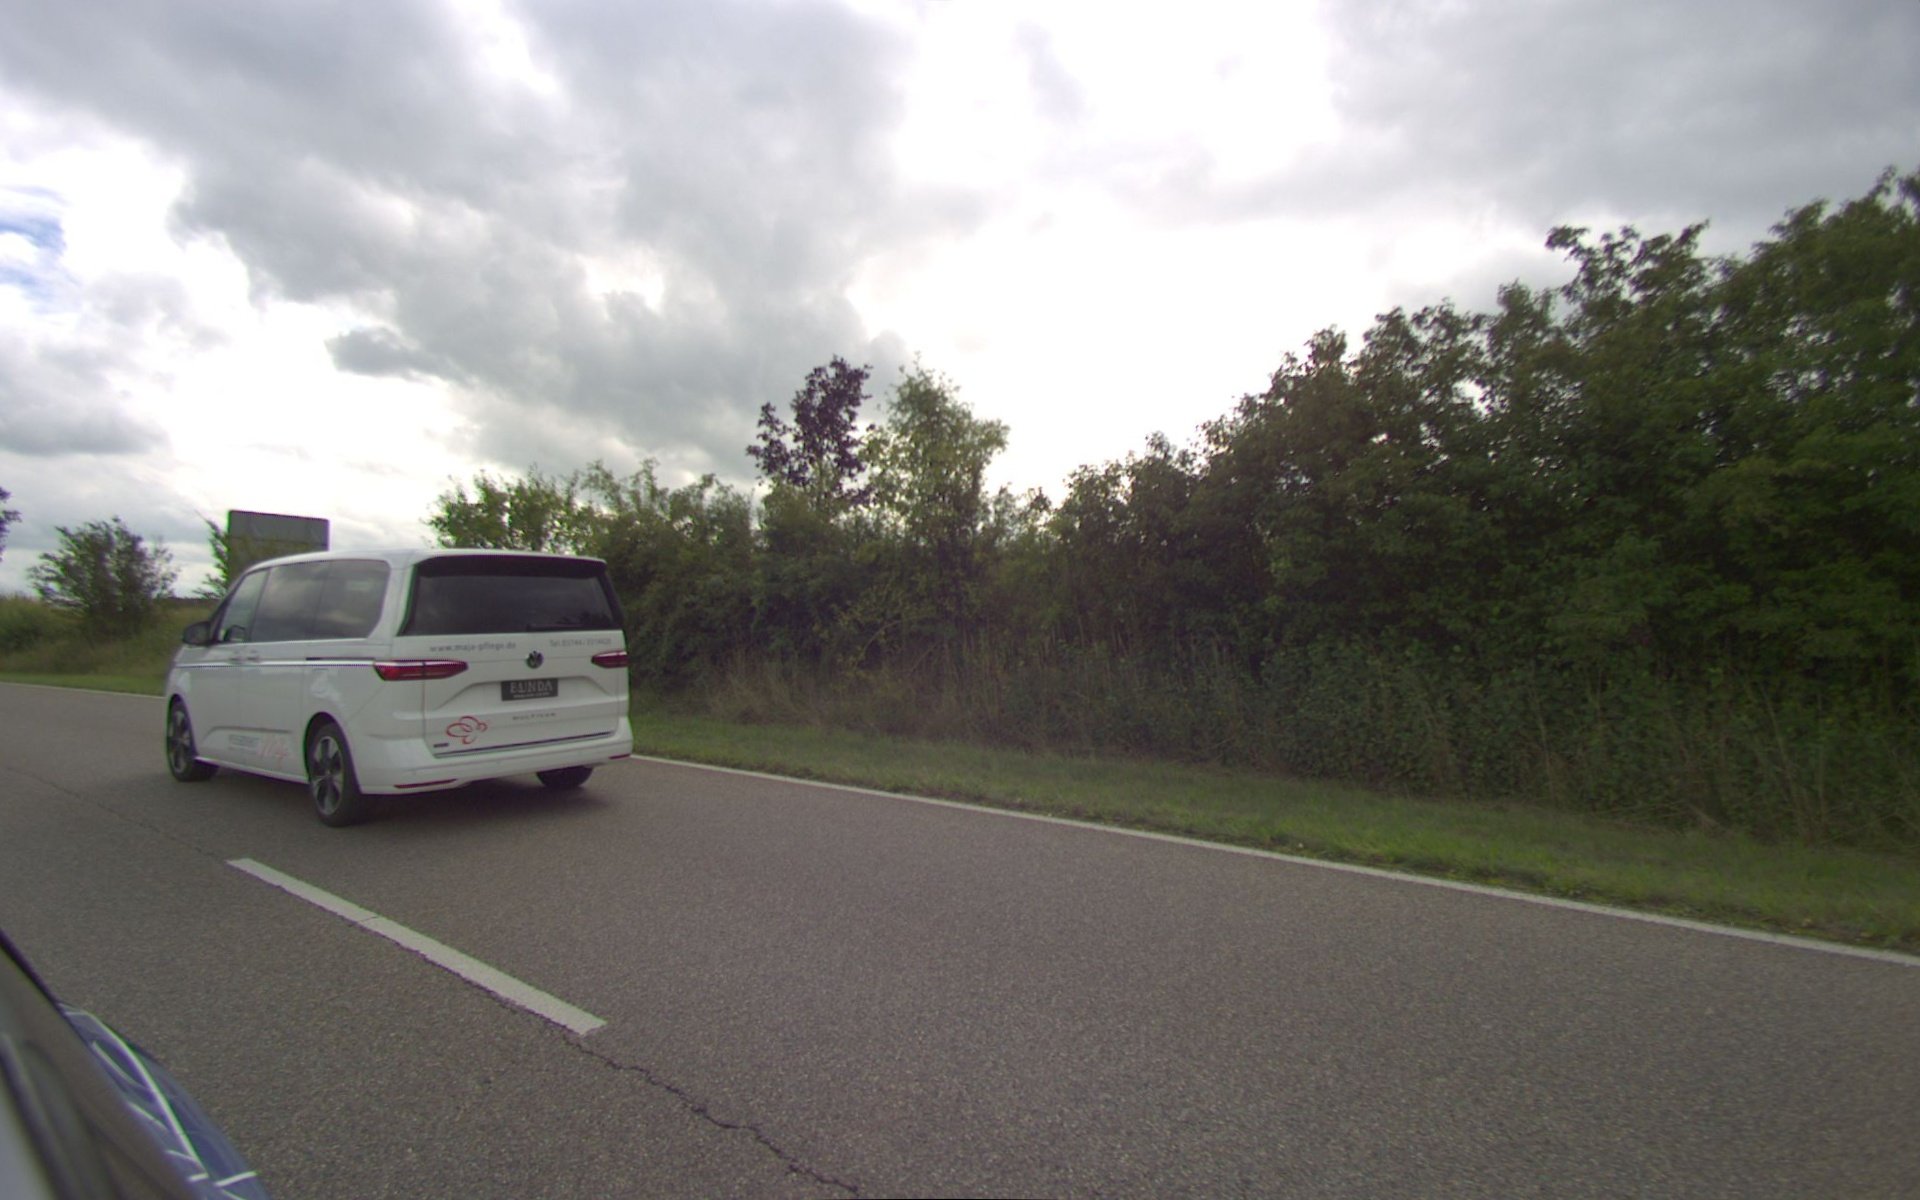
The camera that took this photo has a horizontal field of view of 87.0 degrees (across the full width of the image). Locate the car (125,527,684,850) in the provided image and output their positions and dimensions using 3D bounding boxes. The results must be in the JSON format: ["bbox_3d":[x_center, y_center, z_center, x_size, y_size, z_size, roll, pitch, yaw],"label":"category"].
[{"bbox_3d":[-4.762,0.567,8.324,5.177,1.883,2.094,-1,-2,37],"label":"car"}]
